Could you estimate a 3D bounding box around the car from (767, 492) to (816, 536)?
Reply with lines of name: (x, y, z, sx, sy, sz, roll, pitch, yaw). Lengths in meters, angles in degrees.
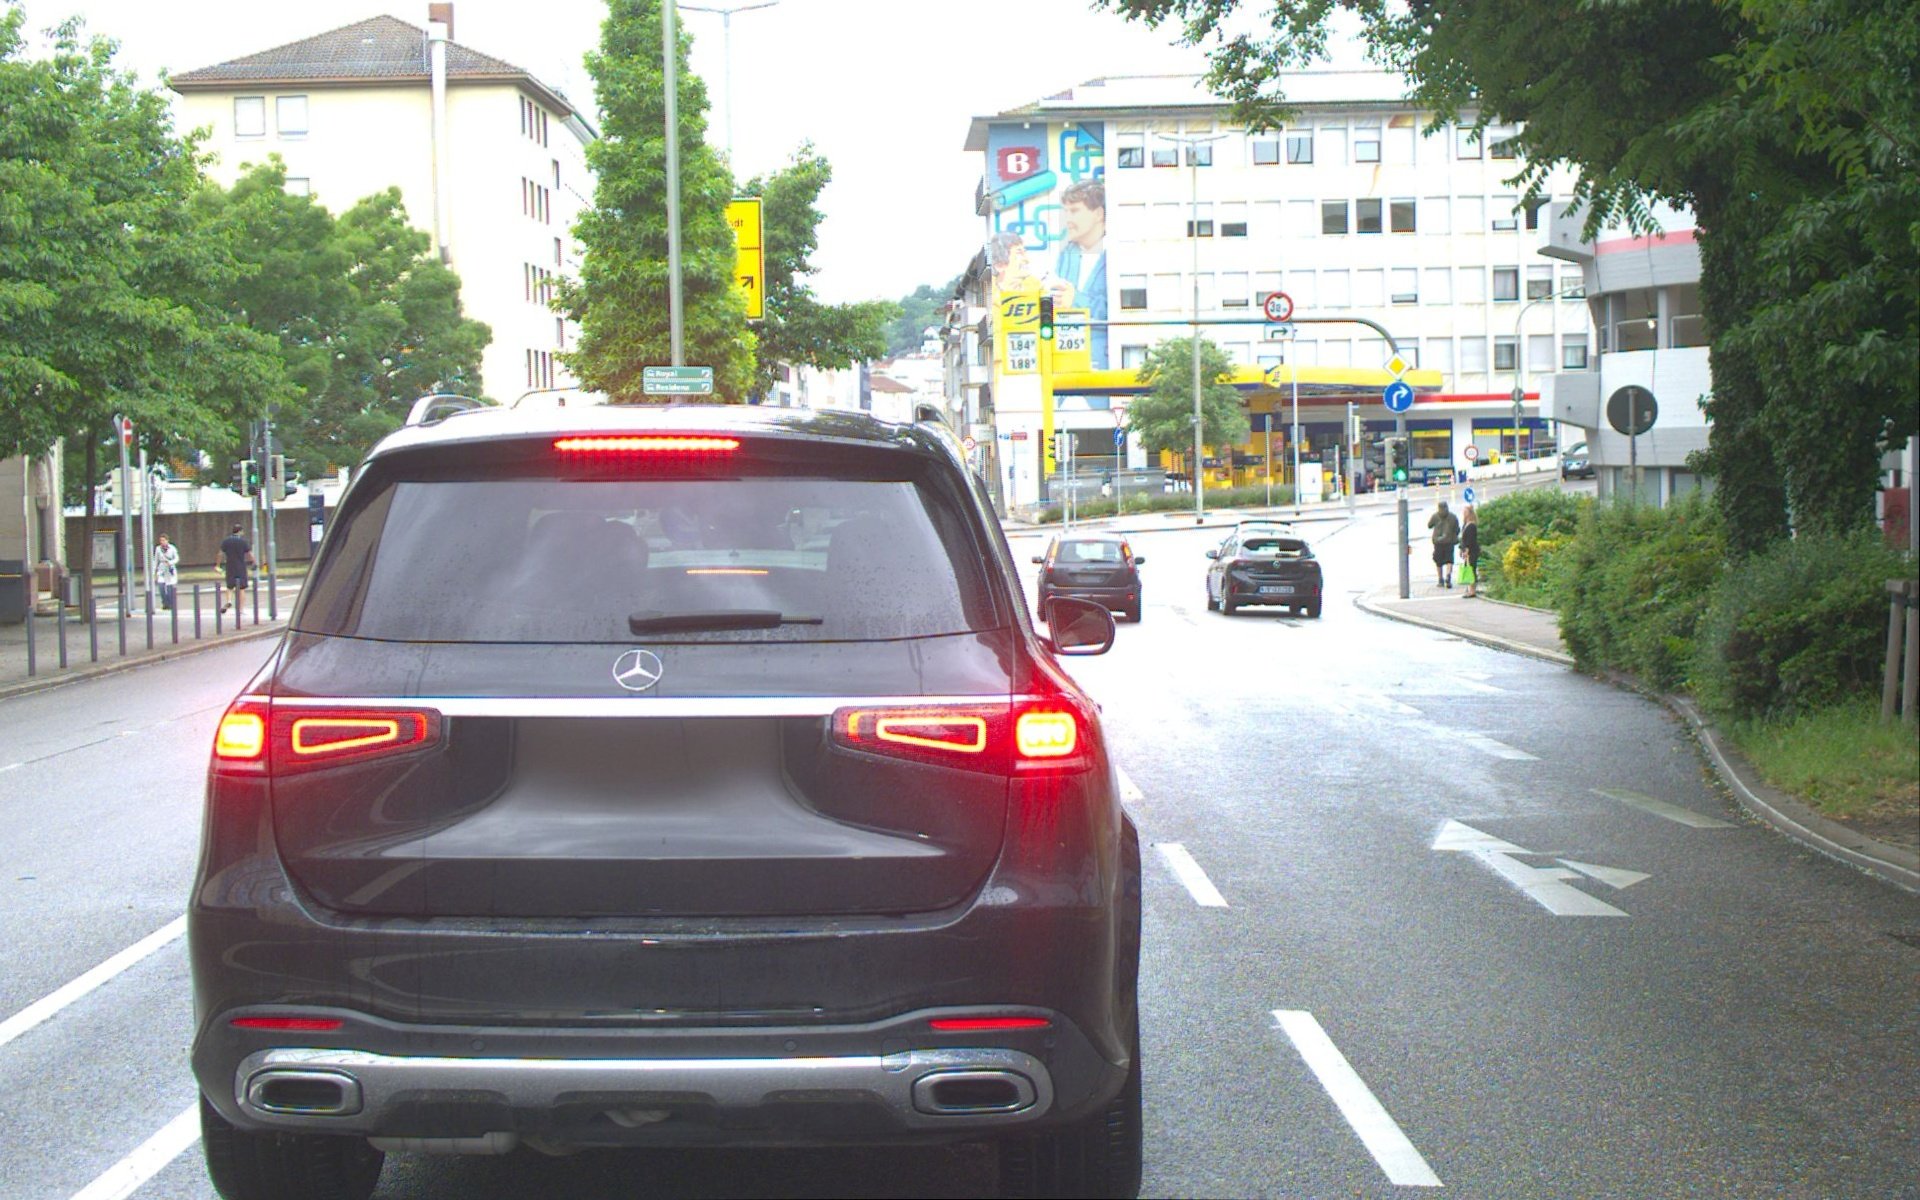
car: (-6.904, -3.507, 140.426, 1.905, 1.697, 4.001, 1, 1, -3)

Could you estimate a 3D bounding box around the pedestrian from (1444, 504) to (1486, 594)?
pedestrian: (9.610, -0.968, 65.429, 0.646, 1.704, 0.470, 1, 0, 36)

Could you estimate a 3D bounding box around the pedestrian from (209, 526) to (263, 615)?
pedestrian: (-13.916, -0.572, 66.067, 0.946, 1.699, 0.713, 1, 0, -17)

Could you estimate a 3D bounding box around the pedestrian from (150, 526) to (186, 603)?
pedestrian: (-17.242, -0.779, 74.869, 0.642, 1.660, 1.019, 1, 0, -6)

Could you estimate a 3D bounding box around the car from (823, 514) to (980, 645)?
car: (-0.741, -0.268, 44.272, 1.907, 1.581, 4.000, 1, 1, -1)

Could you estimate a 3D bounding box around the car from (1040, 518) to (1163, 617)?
car: (2.307, -0.570, 56.977, 1.796, 1.520, 4.056, 1, 2, -1)

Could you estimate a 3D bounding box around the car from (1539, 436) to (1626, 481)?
car: (25.039, -5.694, 138.246, 1.997, 1.700, 3.993, 0, 2, 33)

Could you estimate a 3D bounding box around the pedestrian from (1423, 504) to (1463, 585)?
pedestrian: (10.059, -1.154, 71.581, 0.717, 1.684, 0.456, 1, 0, -6)

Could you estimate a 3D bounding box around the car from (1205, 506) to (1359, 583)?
car: (6.751, -1.147, 71.687, 1.757, 1.543, 3.994, 1, 1, 28)

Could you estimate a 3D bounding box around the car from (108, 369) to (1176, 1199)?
car: (-0.624, 0.454, 8.487, 1.993, 1.794, 4.000, 1, 1, -1)

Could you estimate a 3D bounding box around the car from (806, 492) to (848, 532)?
car: (-7.031, -4.660, 182.264, 1.993, 2.007, 4.000, 1, 1, 0)

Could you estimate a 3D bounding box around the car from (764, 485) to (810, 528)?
car: (-8.416, -4.527, 167.380, 1.993, 2.007, 4.000, 1, 1, 0)

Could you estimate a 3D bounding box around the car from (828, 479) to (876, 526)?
car: (-4.850, -4.344, 154.259, 1.993, 2.007, 4.000, 1, 1, 0)

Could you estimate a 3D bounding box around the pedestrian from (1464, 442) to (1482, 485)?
pedestrian: (20.385, -5.424, 136.641, 0.526, 1.721, 0.688, 0, 2, 26)

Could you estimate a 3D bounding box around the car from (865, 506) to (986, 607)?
car: (-0.573, -0.711, 56.898, 1.907, 1.581, 4.000, 1, 1, -1)

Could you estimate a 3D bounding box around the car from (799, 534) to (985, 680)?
car: (-0.730, 0.051, 37.719, 1.907, 1.496, 4.000, 1, 1, -1)

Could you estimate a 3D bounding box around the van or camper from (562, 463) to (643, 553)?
van or camper: (-10.838, -2.762, 104.543, 2.101, 2.573, 5.909, -3, 1, -4)

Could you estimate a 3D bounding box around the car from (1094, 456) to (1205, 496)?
car: (7.066, -4.616, 128.519, 1.732, 1.371, 3.998, -4, 3, -44)

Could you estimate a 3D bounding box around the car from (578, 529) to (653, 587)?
car: (-9.281, -1.143, 92.882, 1.741, 1.465, 3.883, -3, 1, -3)

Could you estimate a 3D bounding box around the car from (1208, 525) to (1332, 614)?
car: (5.418, -0.537, 60.500, 1.946, 1.481, 4.000, 1, 1, 2)

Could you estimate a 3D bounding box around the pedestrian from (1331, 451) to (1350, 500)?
pedestrian: (13.314, -4.346, 120.278, 0.572, 1.691, 0.631, 1, 0, 1)

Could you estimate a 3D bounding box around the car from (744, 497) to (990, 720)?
car: (-0.785, 0.049, 30.144, 1.993, 1.794, 4.000, 1, 1, -1)
